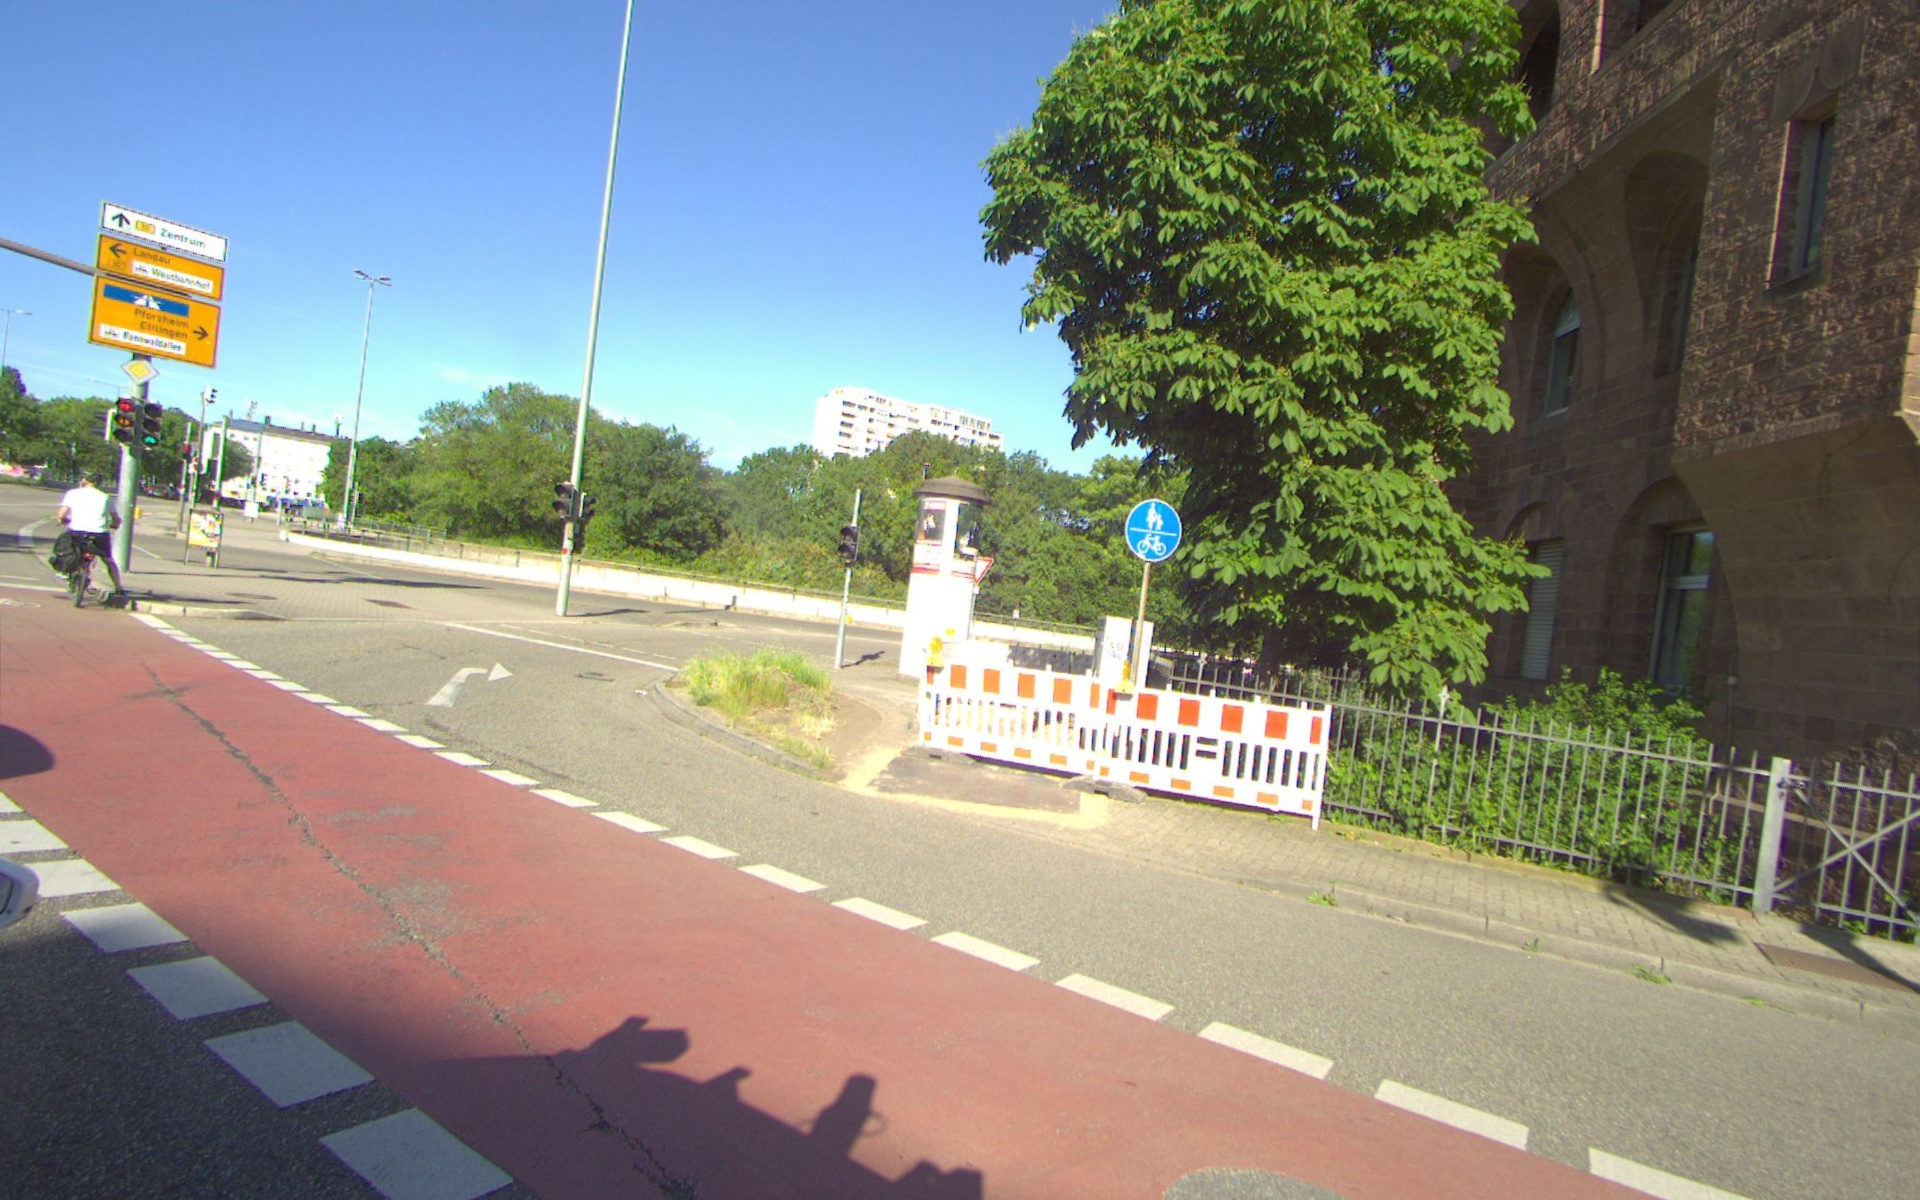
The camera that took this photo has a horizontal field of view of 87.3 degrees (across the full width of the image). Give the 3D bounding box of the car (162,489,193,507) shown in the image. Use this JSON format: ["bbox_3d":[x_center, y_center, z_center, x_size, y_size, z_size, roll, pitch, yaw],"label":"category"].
[{"bbox_3d":[-85.784,-11.127,110.361,1.930,1.547,4.065,7,0,-29],"label":"car"}]

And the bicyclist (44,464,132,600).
[{"bbox_3d":[-11.844,-0.931,13.655,0.722,1.680,1.099,8,1,-43],"label":"bicyclist"}]

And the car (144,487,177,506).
[{"bbox_3d":[-82.749,-10.661,104.161,1.931,1.547,4.064,7,0,-30],"label":"car"}]

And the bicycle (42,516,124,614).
[{"bbox_3d":[-11.911,-0.492,13.652,0.689,1.115,1.804,8,0,-43],"label":"bicycle"}]
